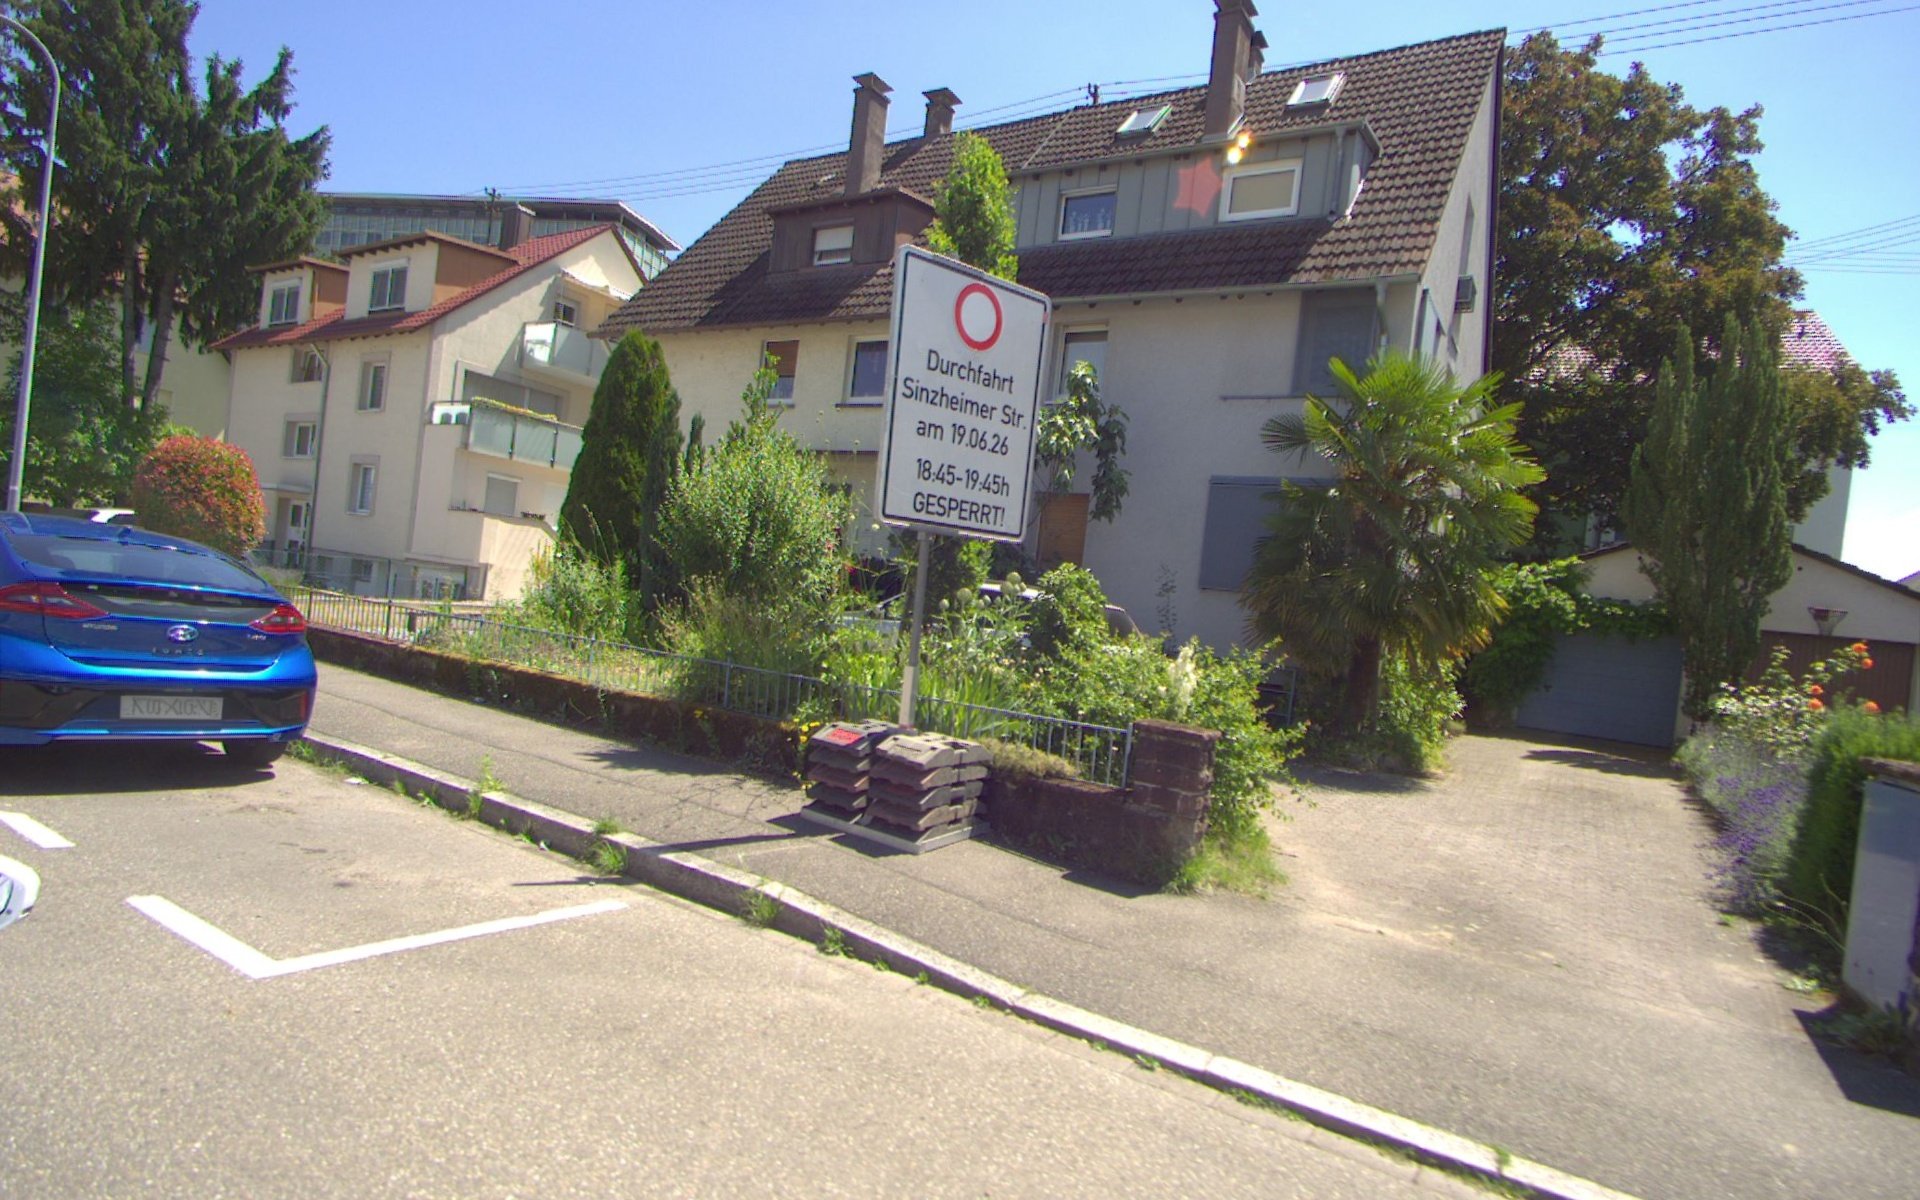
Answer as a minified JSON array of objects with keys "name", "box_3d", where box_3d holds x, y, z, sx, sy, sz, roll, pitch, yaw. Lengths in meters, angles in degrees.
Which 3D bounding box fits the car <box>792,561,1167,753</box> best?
[{"name":"car","box_3d":[0.182,0.555,11.870,3.932,1.591,1.795,7,3,30]}]

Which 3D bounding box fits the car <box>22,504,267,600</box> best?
[{"name":"car","box_3d":[-19.035,-1.071,23.660,1.803,1.629,3.994,6,-2,32]}]

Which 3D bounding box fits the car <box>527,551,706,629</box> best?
[{"name":"car","box_3d":[-8.150,-0.182,24.270,1.767,1.529,3.997,6,0,23]}]

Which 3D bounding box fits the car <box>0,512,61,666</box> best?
[{"name":"car","box_3d":[-11.003,-0.340,10.195,3.948,1.435,1.728,6,-3,33]}]

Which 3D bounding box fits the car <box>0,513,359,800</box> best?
[{"name":"car","box_3d":[-6.125,0.182,6.758,4.216,1.421,1.781,6,-3,33]}]
